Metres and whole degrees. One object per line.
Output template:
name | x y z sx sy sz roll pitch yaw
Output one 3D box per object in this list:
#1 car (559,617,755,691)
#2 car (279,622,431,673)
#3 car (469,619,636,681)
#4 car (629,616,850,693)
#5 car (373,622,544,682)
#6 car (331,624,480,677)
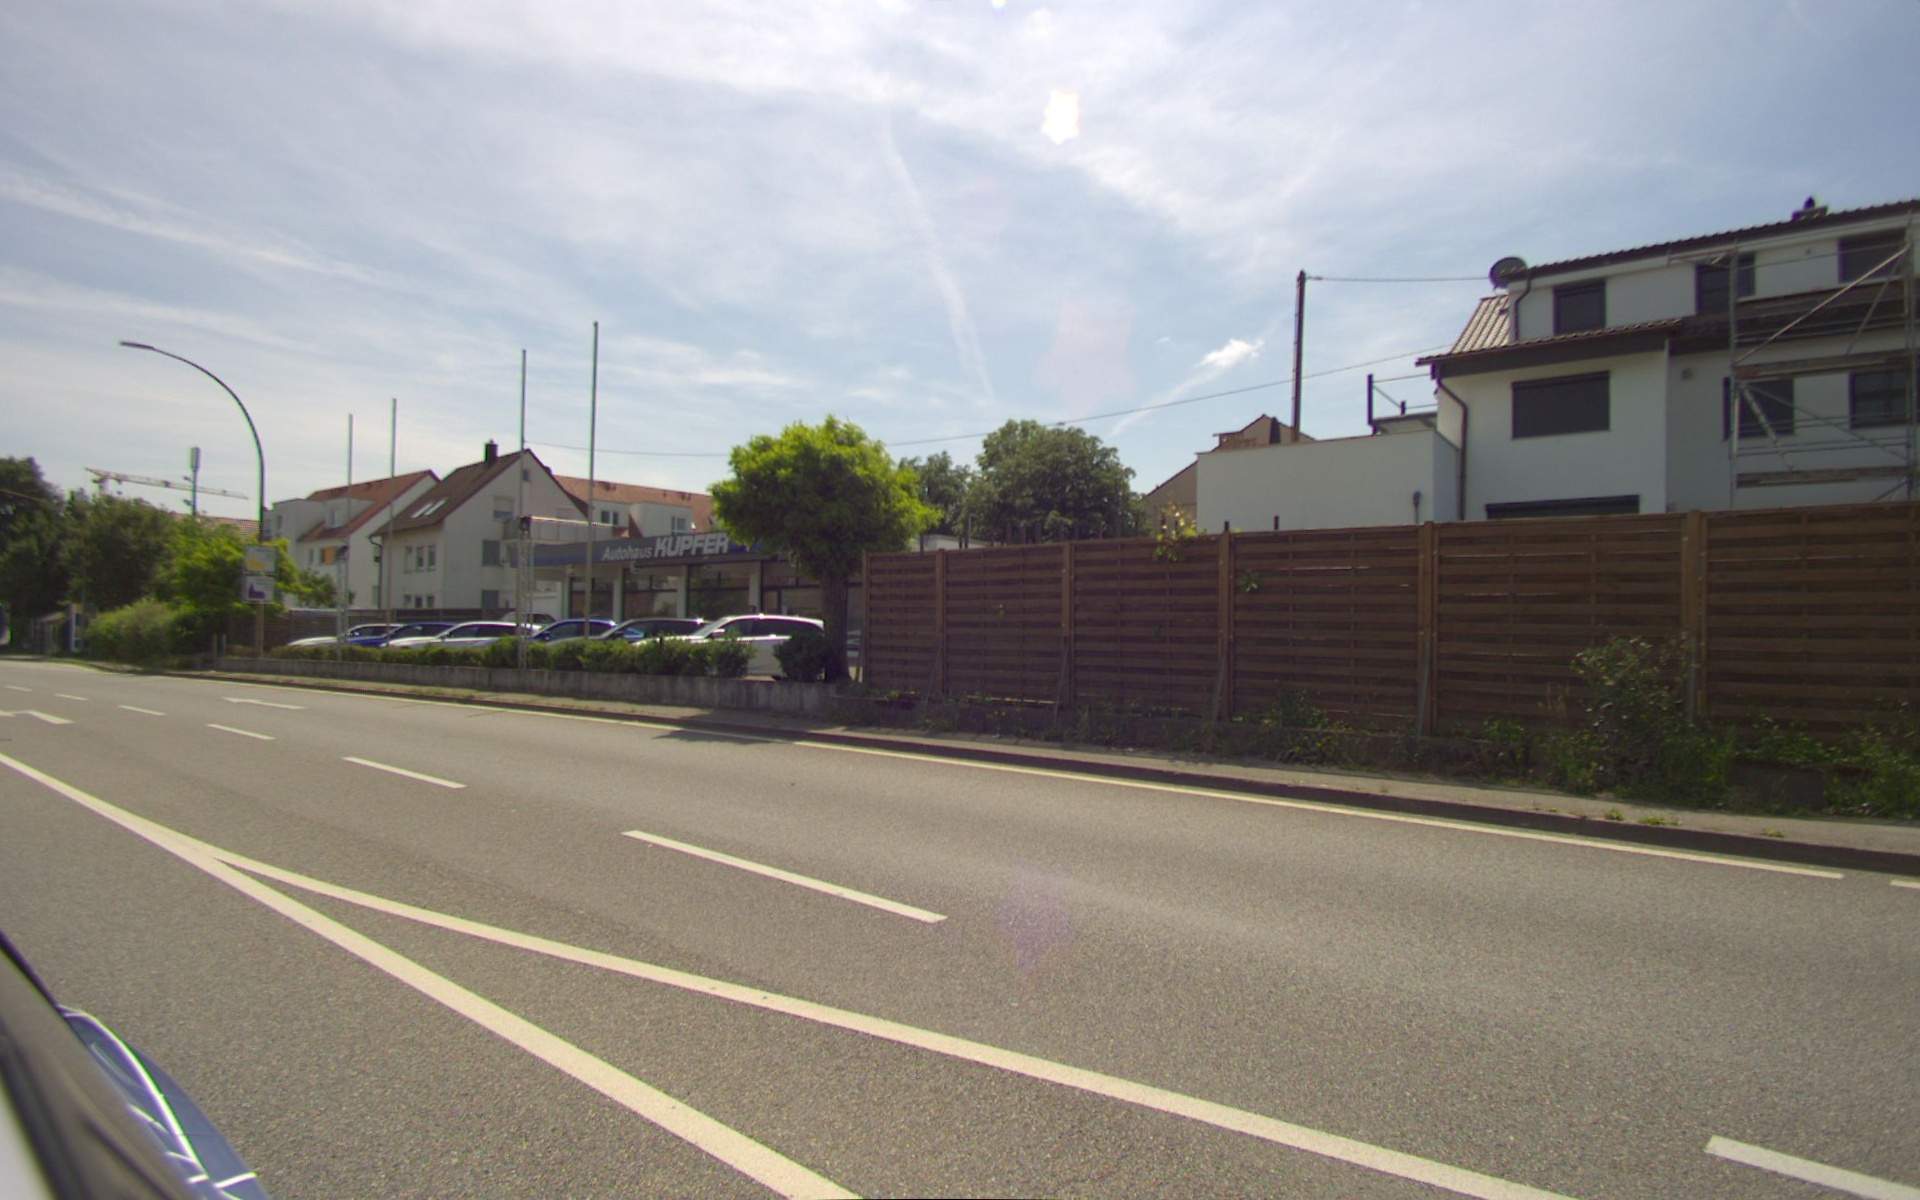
car | -7.227 1.227 24.183 4.187 1.557 1.856 -1 -1 -27
car | -20.444 1.563 34.411 4.192 1.541 2.006 -1 -1 -24
car | -10.642 1.259 26.471 3.931 1.453 1.860 -1 -1 -25
car | -4.694 1.098 21.562 4.264 1.471 1.861 0 -1 -26
car | -14.228 1.435 28.975 4.238 1.530 2.006 -1 -1 -23
car | -17.348 1.549 31.881 3.930 1.475 2.006 -1 -1 -24
